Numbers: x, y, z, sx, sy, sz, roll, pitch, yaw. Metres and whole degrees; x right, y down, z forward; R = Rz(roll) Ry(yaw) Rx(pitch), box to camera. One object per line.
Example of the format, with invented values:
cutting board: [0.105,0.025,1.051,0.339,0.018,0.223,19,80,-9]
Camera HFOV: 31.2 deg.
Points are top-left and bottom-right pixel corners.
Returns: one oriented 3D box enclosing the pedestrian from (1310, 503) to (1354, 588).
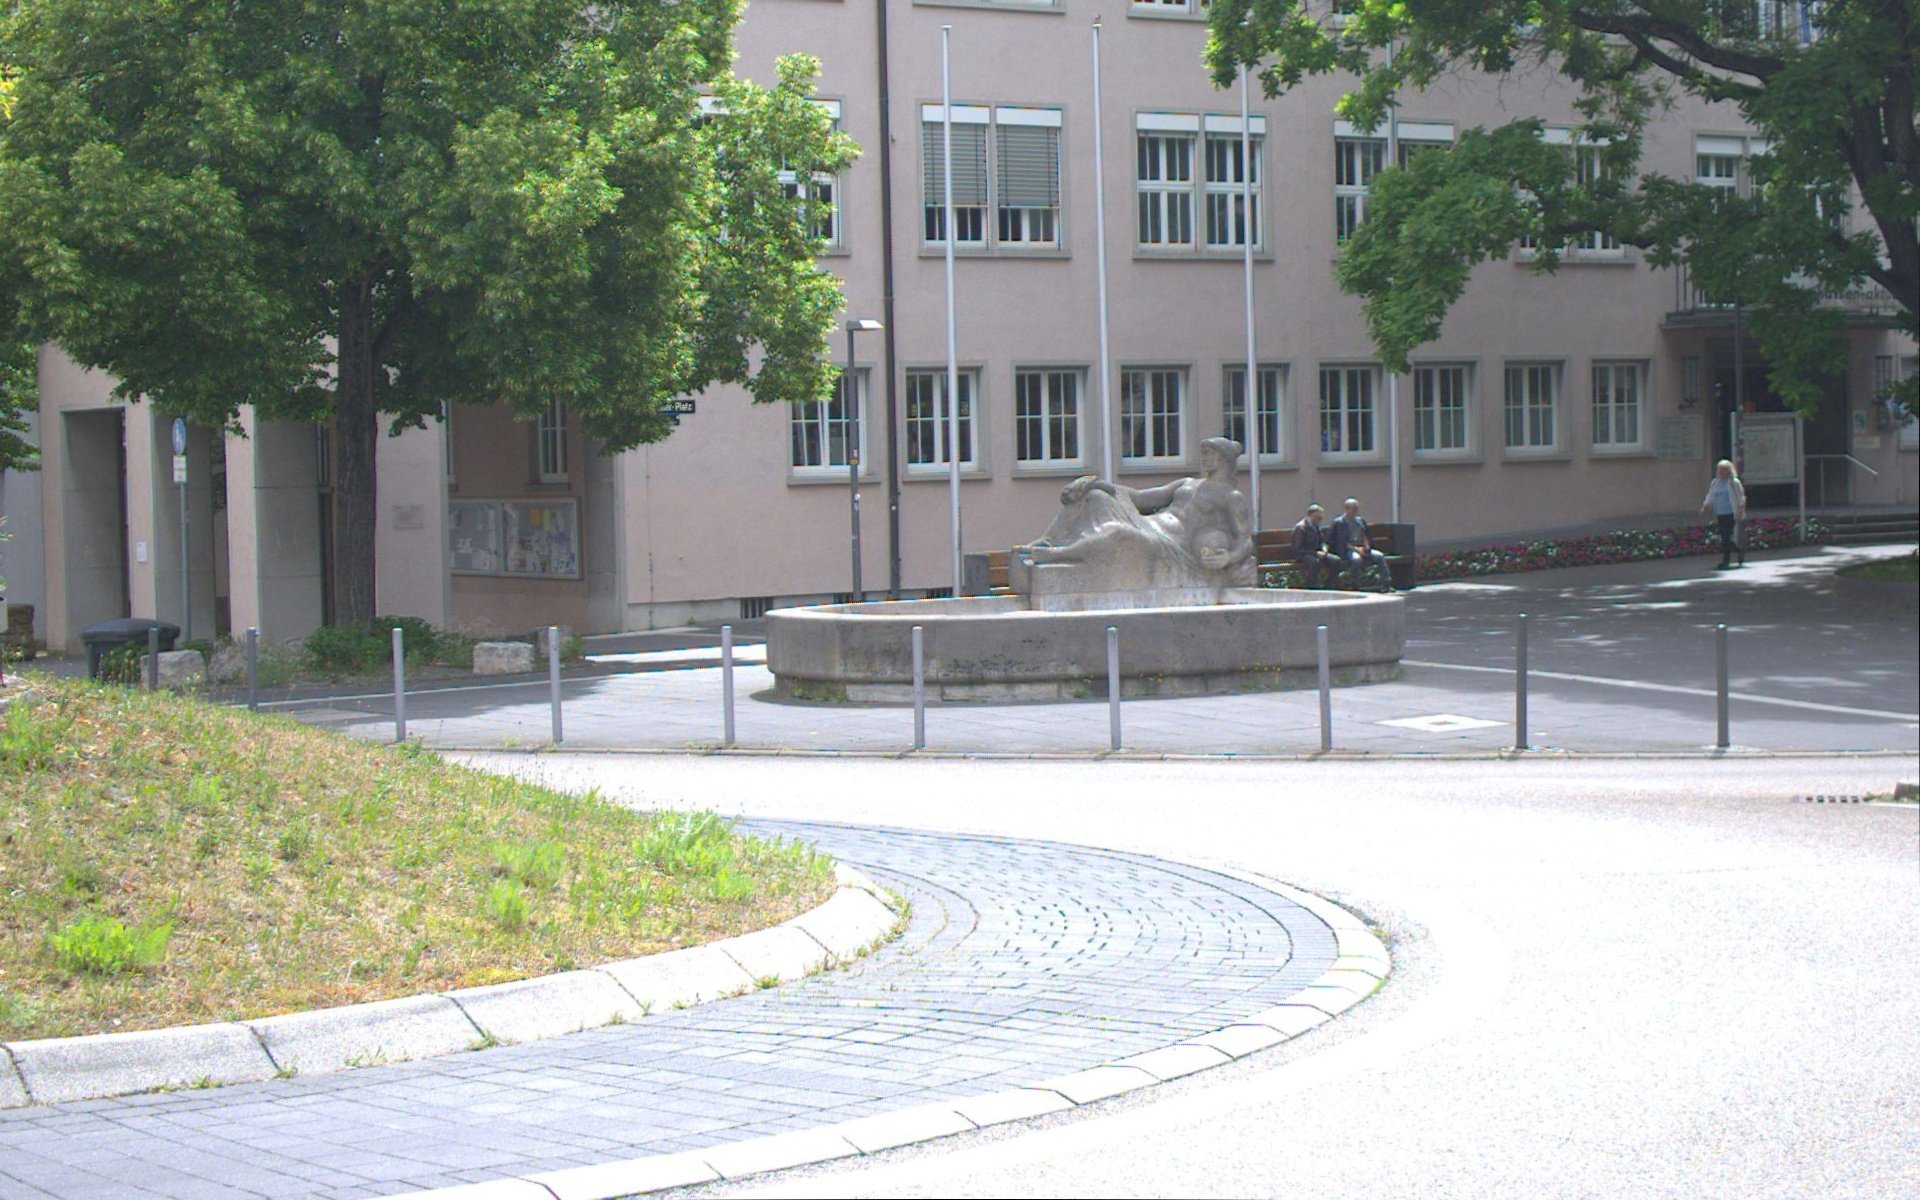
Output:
pedestrian: [5.160,-0.754,47.647,0.487,1.178,0.580,0,1,18]

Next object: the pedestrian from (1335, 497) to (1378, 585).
pedestrian: [5.562,-0.828,48.231,0.487,1.218,0.580,0,1,18]

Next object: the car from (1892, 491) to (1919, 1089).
car: [4.746,0.484,11.238,2.031,1.721,4.425,-1,1,33]

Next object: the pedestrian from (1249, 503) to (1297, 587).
pedestrian: [4.383,-0.770,48.116,0.487,1.158,0.580,1,1,27]

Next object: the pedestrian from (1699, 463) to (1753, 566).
pedestrian: [11.172,-1.239,50.158,0.699,1.487,0.814,0,1,17]
